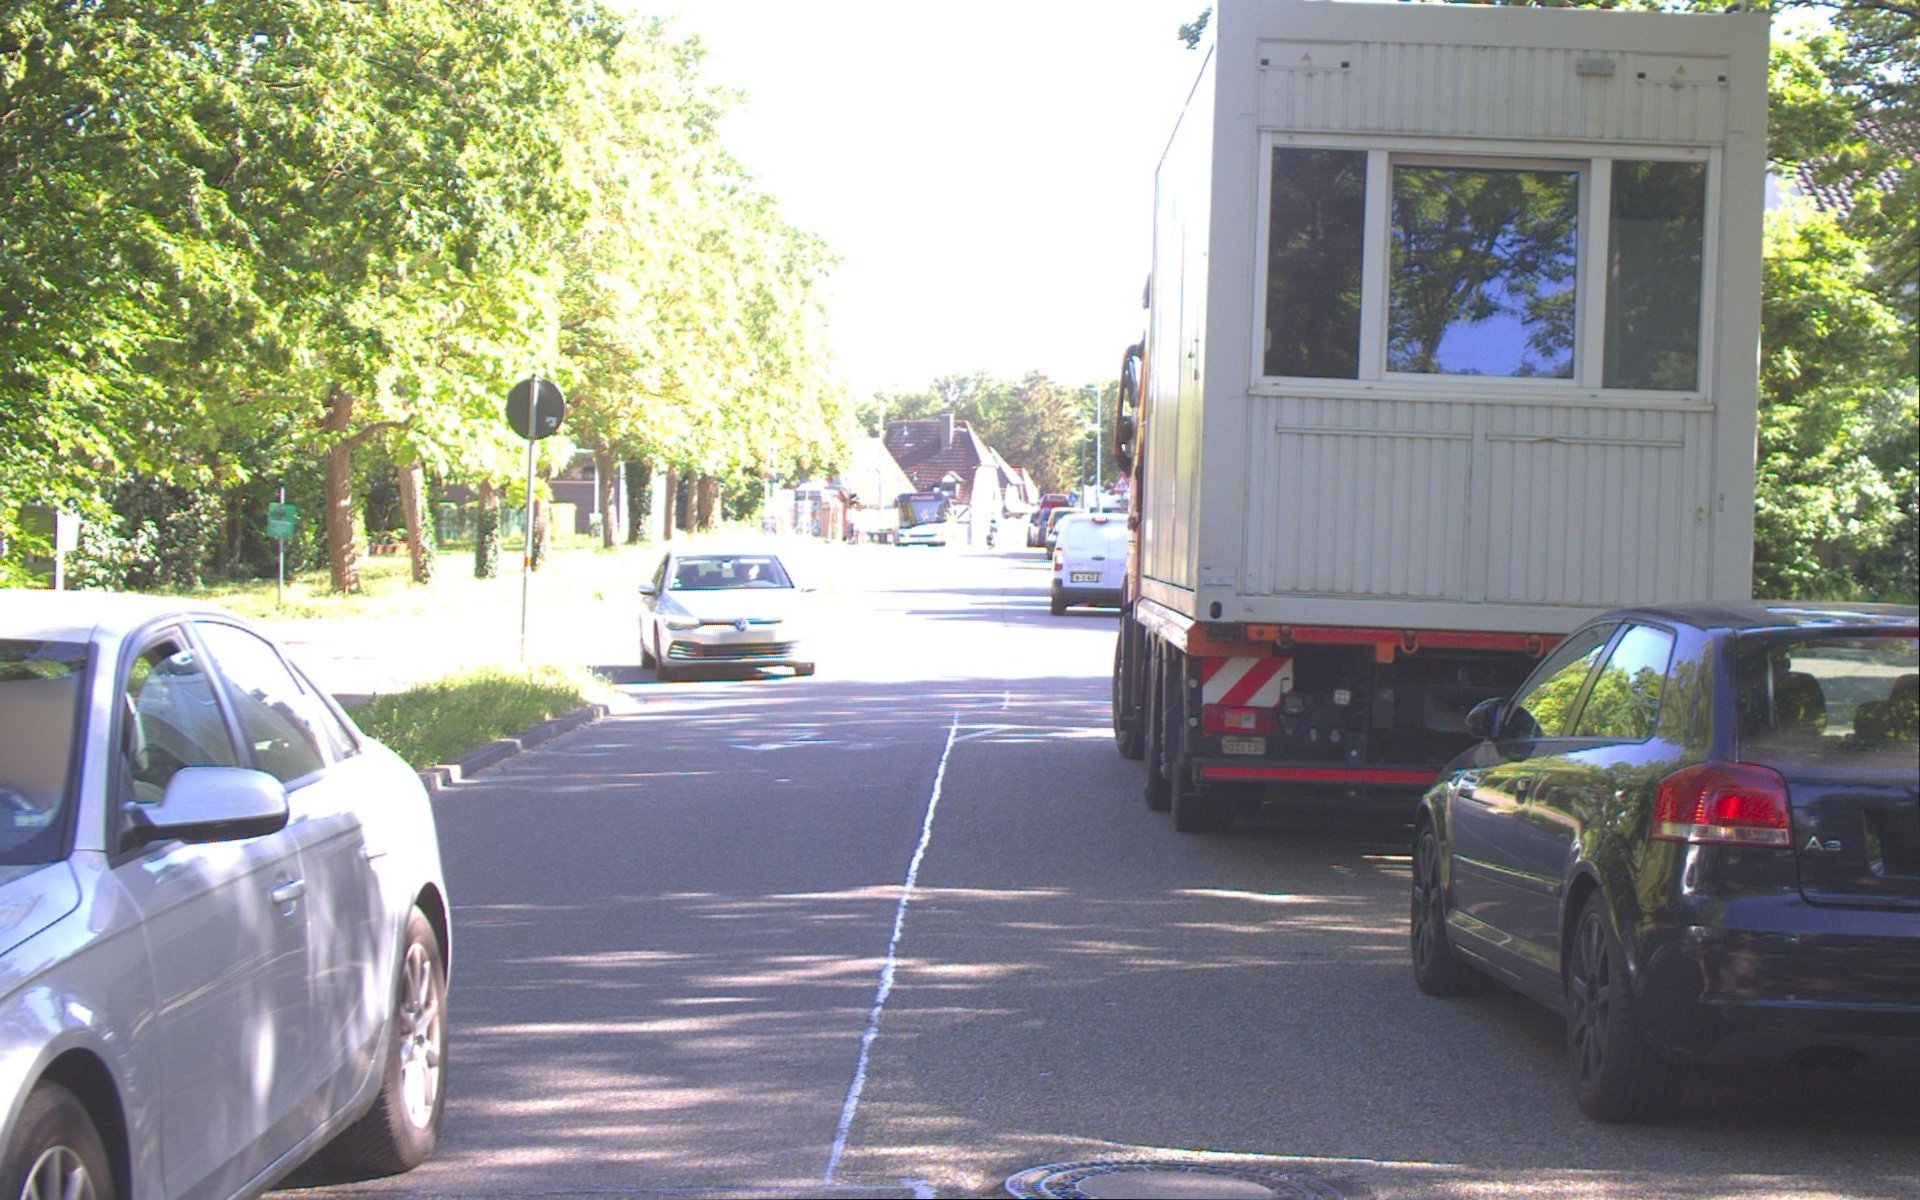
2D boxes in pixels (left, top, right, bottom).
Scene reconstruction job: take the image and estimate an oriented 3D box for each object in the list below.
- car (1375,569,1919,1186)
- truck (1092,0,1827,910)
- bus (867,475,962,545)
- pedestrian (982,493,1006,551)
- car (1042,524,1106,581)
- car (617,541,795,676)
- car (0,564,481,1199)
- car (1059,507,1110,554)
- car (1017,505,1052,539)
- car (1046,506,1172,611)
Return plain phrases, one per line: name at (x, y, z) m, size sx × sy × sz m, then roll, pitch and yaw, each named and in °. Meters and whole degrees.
car at (2.402, 0.672, 10.360) m, size 1.640 × 1.415 × 4.001 m, roll 2°, pitch 1°, yaw -2°
truck at (2.435, -0.777, 20.590) m, size 2.773 × 3.982 × 10.349 m, roll 2°, pitch 1°, yaw 0°
bus at (-2.204, -4.488, 171.457) m, size 4.065 × 3.337 × 9.800 m, roll 0°, pitch 1°, yaw 3°
pedestrian at (1.291, -2.917, 128.833) m, size 0.752 × 2.106 × 0.799 m, roll 3°, pitch 1°, yaw 4°
car at (3.377, -1.431, 102.697) m, size 1.781 × 1.647 × 4.000 m, roll 0°, pitch 1°, yaw 0°
car at (-2.939, 0.060, 39.130) m, size 1.805 × 1.415 × 3.960 m, roll -1°, pitch 1°, yaw -7°
car at (-2.178, 0.680, 6.597) m, size 1.787 × 1.412 × 4.104 m, roll 0°, pitch 2°, yaw 2°
car at (4.754, -2.665, 131.805) m, size 1.781 × 1.802 × 4.000 m, roll 0°, pitch 1°, yaw 0°
car at (3.988, -4.187, 184.672) m, size 1.781 × 1.802 × 4.000 m, roll 0°, pitch 1°, yaw 0°
car at (2.693, -0.779, 62.850) m, size 1.946 × 1.836 × 4.001 m, roll 1°, pitch 1°, yaw -2°
